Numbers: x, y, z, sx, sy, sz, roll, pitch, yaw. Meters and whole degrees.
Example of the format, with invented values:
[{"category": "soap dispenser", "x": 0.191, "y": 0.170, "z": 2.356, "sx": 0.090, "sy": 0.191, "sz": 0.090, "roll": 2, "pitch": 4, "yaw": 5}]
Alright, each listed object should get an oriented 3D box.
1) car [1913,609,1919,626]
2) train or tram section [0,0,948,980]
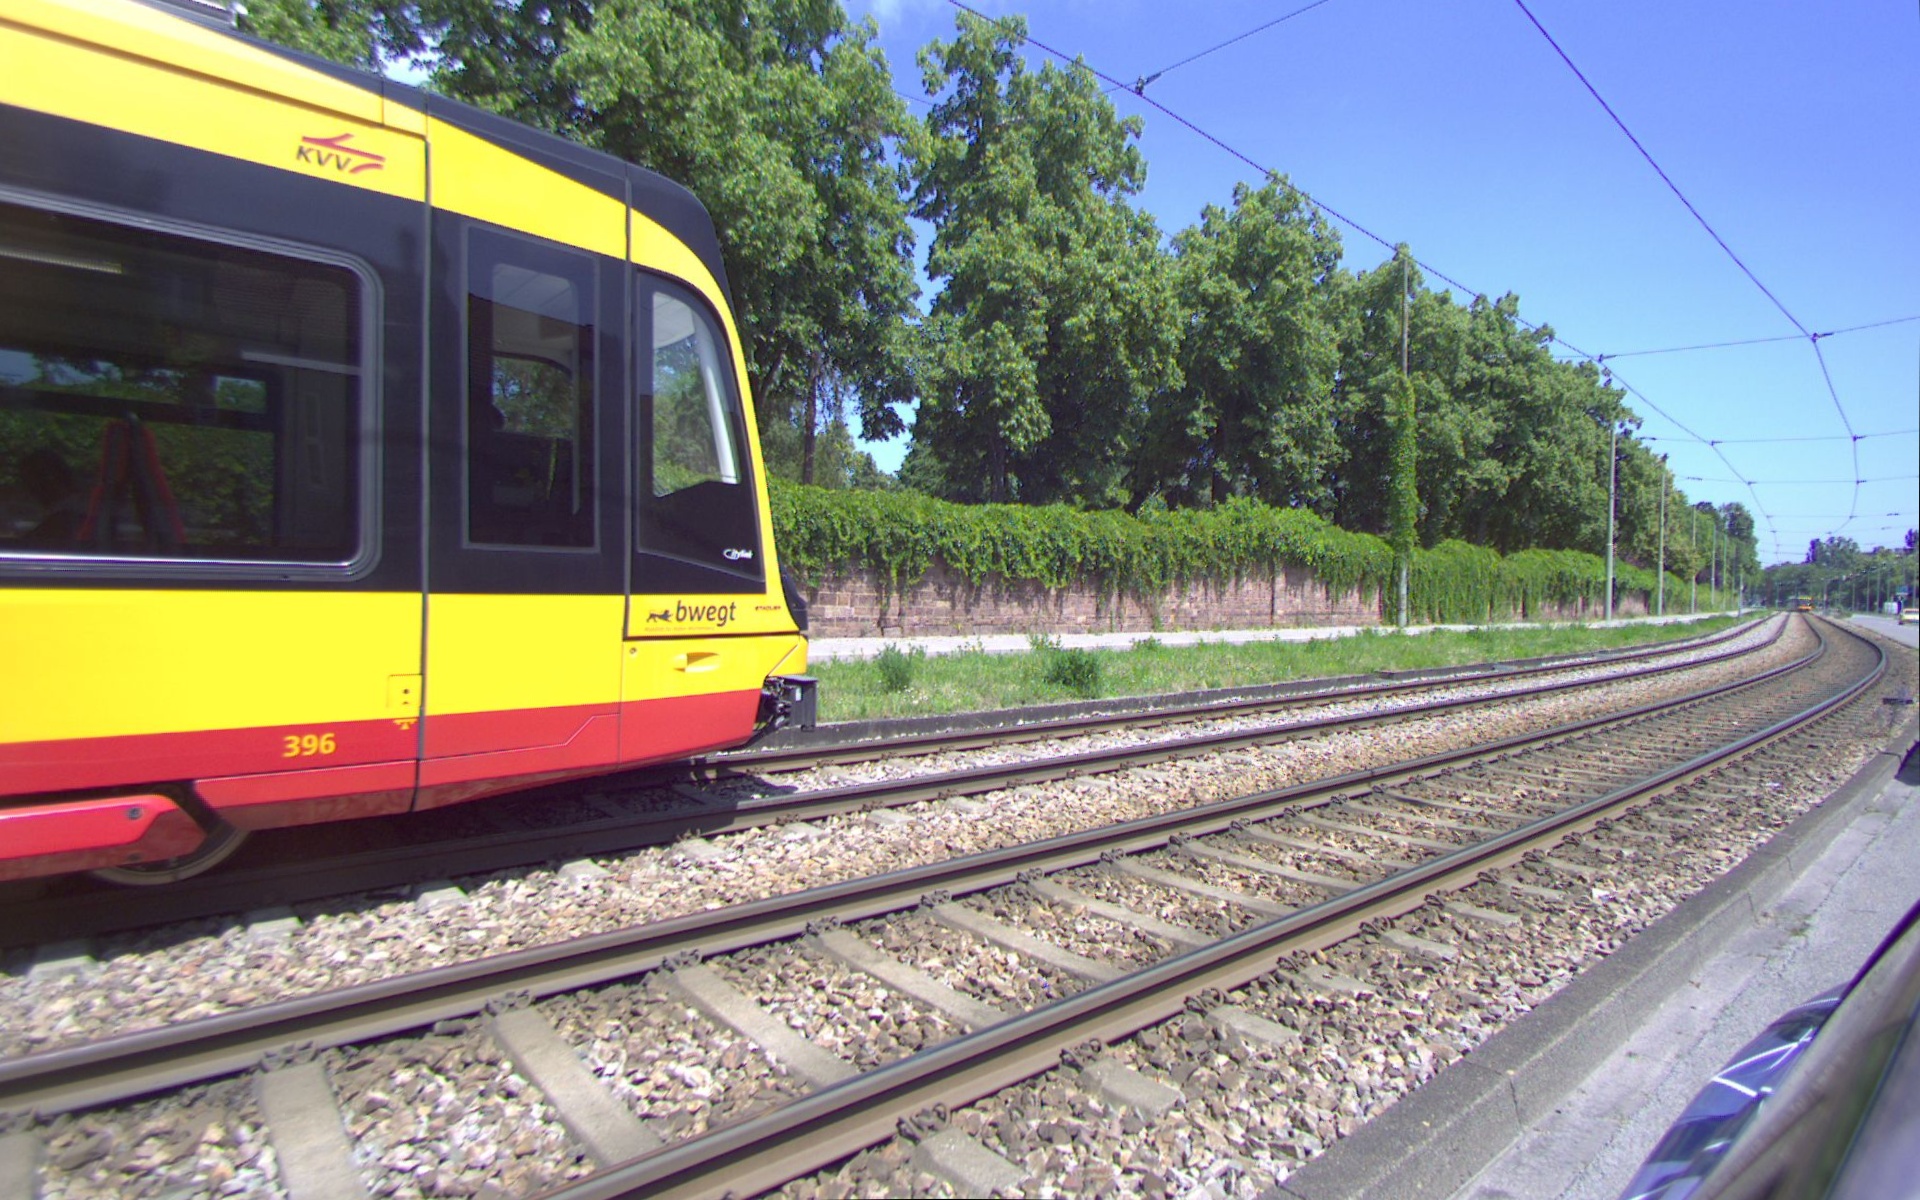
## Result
[{"category": "car", "x": 84.419, "y": 1.560, "z": 88.309, "sx": 1.689, "sy": 1.429, "sz": 3.463, "roll": 1, "pitch": 0, "yaw": 41}, {"category": "train or tram section", "x": -6.000, "y": -0.778, "z": 2.696, "sx": 12.855, "sy": 3.845, "sz": 3.035, "roll": 0, "pitch": 1, "yaw": -40}]
